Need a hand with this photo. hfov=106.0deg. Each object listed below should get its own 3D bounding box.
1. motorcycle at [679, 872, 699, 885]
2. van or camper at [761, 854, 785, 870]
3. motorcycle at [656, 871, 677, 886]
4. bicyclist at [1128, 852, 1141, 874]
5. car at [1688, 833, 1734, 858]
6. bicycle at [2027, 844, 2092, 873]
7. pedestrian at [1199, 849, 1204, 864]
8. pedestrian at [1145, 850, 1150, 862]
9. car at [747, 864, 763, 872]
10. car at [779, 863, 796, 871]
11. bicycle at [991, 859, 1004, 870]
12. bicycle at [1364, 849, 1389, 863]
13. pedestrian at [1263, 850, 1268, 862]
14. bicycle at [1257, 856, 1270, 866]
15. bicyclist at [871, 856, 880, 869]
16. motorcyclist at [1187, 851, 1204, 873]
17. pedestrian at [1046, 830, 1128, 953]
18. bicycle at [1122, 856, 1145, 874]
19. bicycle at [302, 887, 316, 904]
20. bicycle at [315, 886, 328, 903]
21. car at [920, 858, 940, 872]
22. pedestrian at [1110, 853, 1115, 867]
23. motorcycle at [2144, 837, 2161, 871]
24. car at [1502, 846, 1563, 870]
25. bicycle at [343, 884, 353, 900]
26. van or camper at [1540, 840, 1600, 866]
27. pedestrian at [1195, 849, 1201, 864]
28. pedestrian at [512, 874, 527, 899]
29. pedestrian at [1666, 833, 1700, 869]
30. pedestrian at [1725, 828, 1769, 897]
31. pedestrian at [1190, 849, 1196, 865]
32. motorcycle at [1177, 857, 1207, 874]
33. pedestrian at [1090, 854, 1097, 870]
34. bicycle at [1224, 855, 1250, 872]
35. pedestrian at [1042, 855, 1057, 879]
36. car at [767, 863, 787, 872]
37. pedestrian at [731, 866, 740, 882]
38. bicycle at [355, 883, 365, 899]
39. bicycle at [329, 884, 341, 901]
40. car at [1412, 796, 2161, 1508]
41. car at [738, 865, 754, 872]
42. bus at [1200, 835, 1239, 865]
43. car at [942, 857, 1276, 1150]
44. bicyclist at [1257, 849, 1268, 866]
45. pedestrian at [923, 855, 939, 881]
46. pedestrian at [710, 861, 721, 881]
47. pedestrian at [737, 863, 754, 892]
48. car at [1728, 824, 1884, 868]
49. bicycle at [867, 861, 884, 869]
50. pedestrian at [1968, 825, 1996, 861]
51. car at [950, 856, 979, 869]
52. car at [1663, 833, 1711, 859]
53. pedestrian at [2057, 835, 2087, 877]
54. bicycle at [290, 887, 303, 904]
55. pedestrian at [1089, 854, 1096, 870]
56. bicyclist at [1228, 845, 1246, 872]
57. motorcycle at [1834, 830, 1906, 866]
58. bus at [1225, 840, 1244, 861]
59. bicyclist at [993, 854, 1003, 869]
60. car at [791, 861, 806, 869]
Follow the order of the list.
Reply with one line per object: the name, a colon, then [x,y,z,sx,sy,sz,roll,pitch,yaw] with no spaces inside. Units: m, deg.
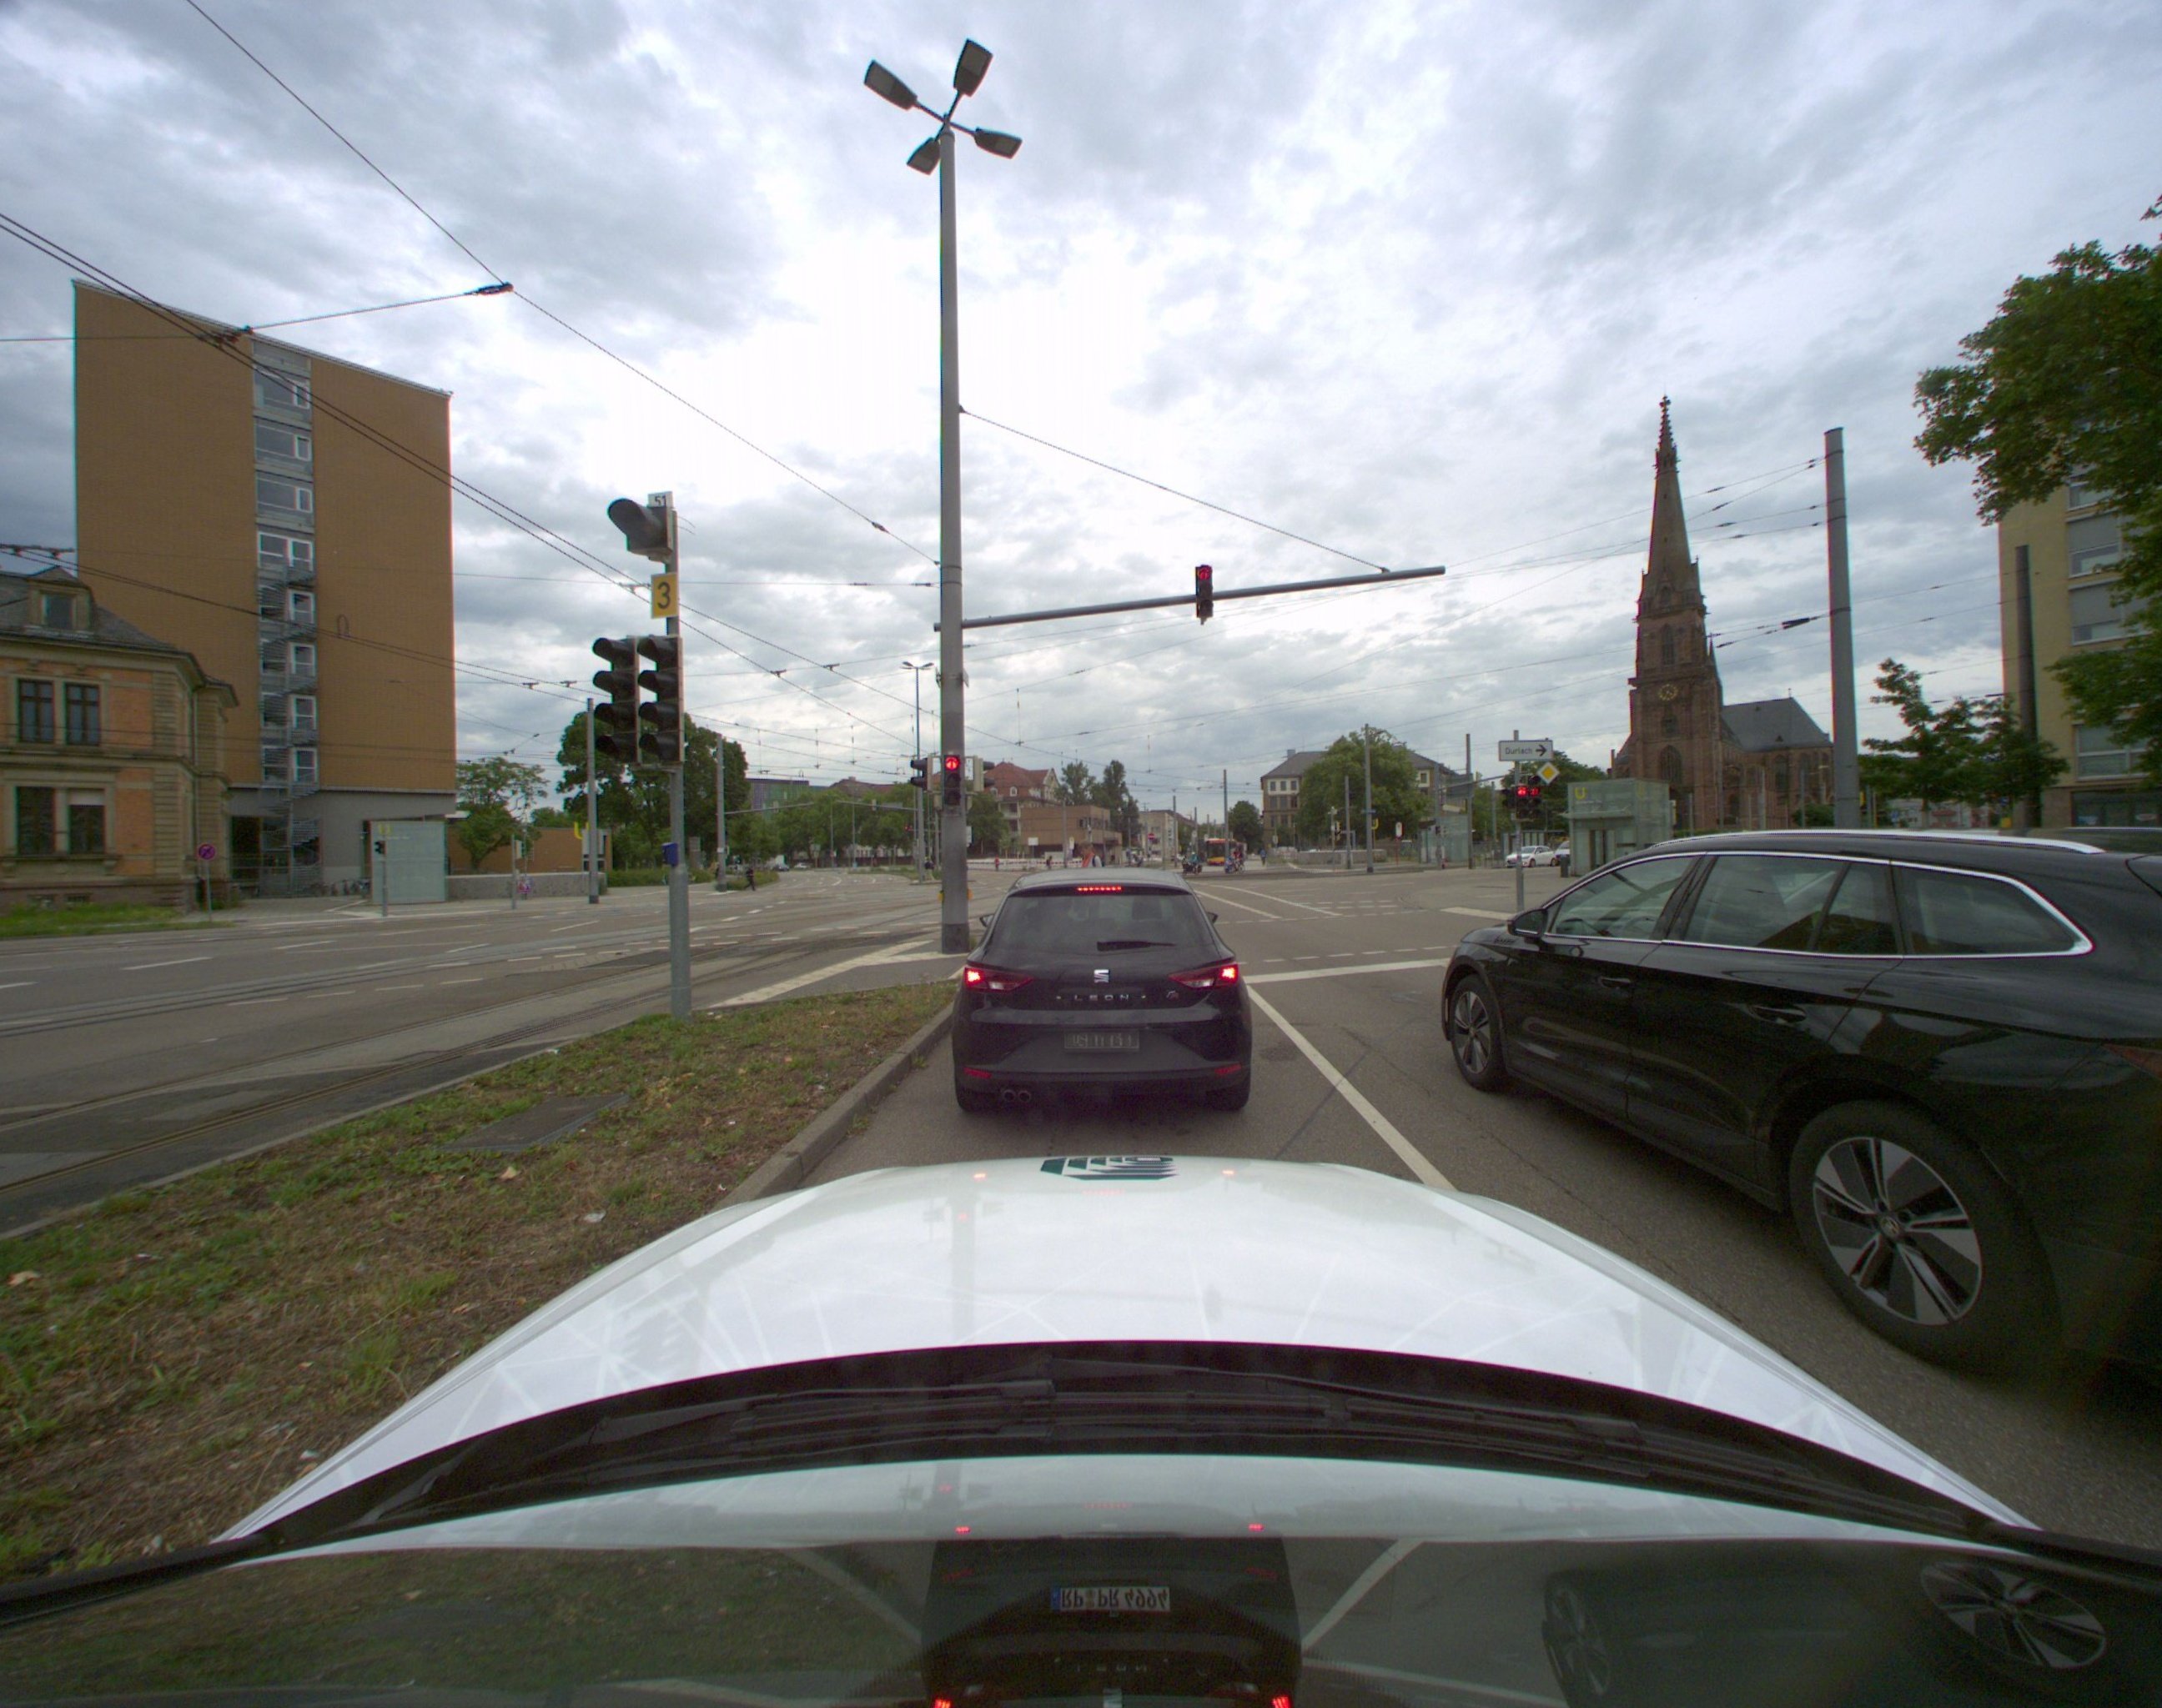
motorcycle: [-34.421,2.168,71.505,0.506,1.111,1.751,-2,0,15]
van or camper: [-62.830,1.735,165.992,5.434,3.124,2.410,-2,0,43]
motorcycle: [-35.448,2.084,69.600,1.481,1.268,0.505,-1,0,-44]
bicyclist: [4.154,0.699,63.789,0.854,1.673,0.652,-1,0,-10]
car: [53.567,-0.727,69.192,4.017,2.013,1.978,-1,0,-36]
bicycle: [31.505,0.139,26.232,0.596,0.917,1.253,-1,0,-28]
pedestrian: [15.462,0.342,104.344,0.617,1.918,0.701,-2,0,11]
pedestrian: [11.502,0.349,140.208,0.615,1.918,0.715,-3,-2,27]
car: [-68.758,2.945,171.591,1.792,1.464,3.951,-1,0,-44]
car: [-61.702,2.709,170.956,3.950,1.464,1.792,-1,0,44]
bicycle: [-9.246,1.147,90.506,0.895,1.178,2.287,-1,0,-20]
bicycle: [29.655,0.183,81.727,2.248,1.331,0.709,-2,-2,9]
pedestrian: [31.694,0.340,140.049,0.659,2.013,0.692,-2,0,2]
bicycle: [20.082,0.789,89.659,0.863,1.104,2.299,-1,0,-3]
bicyclist: [-32.976,1.351,130.743,0.928,2.013,0.984,-2,0,30]
motorcyclist: [8.522,0.588,60.458,0.984,1.649,0.742,-1,-1,-31]
pedestrian: [0.108,0.585,13.264,1.110,1.907,0.727,0,-1,-41]
bicycle: [4.111,0.865,63.780,1.730,1.321,0.643,-1,0,-10]
bicycle: [-52.090,2.774,54.956,0.575,1.106,1.411,-1,0,-41]
bicycle: [-51.643,2.776,55.361,0.575,1.106,1.411,-1,0,-41]
car: [-19.572,1.382,105.422,2.000,1.684,3.973,-1,-1,-20]
pedestrian: [4.336,0.822,112.071,0.618,1.918,0.711,-2,0,5]
motorcycle: [31.961,-0.011,23.848,1.021,0.997,0.863,-1,0,-44]
car: [30.410,0.268,54.831,4.011,1.464,1.758,-1,-2,-30]
bicycle: [-50.655,2.627,56.282,0.512,1.049,1.411,-1,0,-41]
van or camper: [35.271,-0.089,58.680,4.321,1.742,1.979,-1,-2,-34]
pedestrian: [15.151,0.374,105.380,0.618,1.918,0.711,-2,0,5]
pedestrian: [-30.755,1.784,44.624,0.492,1.336,0.577,-2,-1,41]
pedestrian: [31.136,-0.145,42.099,0.950,1.797,1.076,-1,-2,-32]
pedestrian: [19.200,0.228,23.479,0.878,1.930,1.023,-1,0,43]
pedestrian: [14.278,0.376,103.913,0.617,1.918,0.701,-2,0,11]
motorcycle: [8.205,0.855,60.247,2.149,1.139,0.737,-1,0,-31]
pedestrian: [1.503,0.953,97.522,0.704,1.918,0.625,-2,0,9]
bicycle: [11.252,0.670,58.592,2.044,1.184,0.768,-1,0,-44]
pedestrian: [-2.591,1.064,66.896,0.692,1.934,1.037,-2,0,40]
car: [-54.053,2.407,144.741,1.792,1.464,3.950,-1,0,-45]
pedestrian: [-44.547,2.564,105.033,0.880,1.981,0.791,-1,-2,-17]
bicycle: [-50.242,2.596,56.721,0.484,1.049,1.411,-1,0,-41]
bicycle: [-51.159,2.636,55.838,0.575,1.106,1.411,-1,0,-41]
car: [3.322,0.652,3.771,1.771,1.597,4.510,-1,0,1]
car: [-73.824,3.098,179.400,3.949,1.464,1.792,-1,0,43]
bus: [15.962,-0.430,93.274,2.938,3.123,11.589,-2,0,16]
car: [0.089,0.773,6.107,1.700,1.449,3.809,-1,0,-2]
bicyclist: [20.057,0.347,89.807,0.869,1.851,1.046,-1,0,-4]
pedestrian: [-11.343,1.070,61.672,1.032,1.934,0.695,-2,0,-24]
pedestrian: [-36.416,1.689,81.118,0.799,1.981,0.872,-1,-2,-33]
pedestrian: [-23.820,1.656,57.843,1.023,2.013,0.841,-1,0,-18]
car: [37.656,-0.394,42.518,5.672,2.014,2.038,-2,-2,19]
bicycle: [-32.977,1.791,130.741,0.930,1.179,2.747,-2,0,30]
pedestrian: [42.534,-0.517,38.436,0.640,1.638,0.778,-1,0,-35]
car: [-17.612,1.300,123.661,3.970,1.684,2.001,-2,-1,3]
car: [49.704,-0.634,66.755,4.017,2.013,1.978,-1,0,-36]
pedestrian: [39.385,0.087,32.370,0.875,1.638,0.631,-1,0,-32]
bicycle: [-52.540,2.788,54.551,0.575,1.106,1.411,-1,0,-41]
pedestrian: [1.346,0.940,96.729,0.704,1.918,0.625,-2,0,9]
bicyclist: [11.213,0.305,58.584,1.003,1.898,0.768,-1,-1,-44]
motorcycle: [26.949,-0.212,27.812,2.386,1.168,0.762,-1,0,-19]
bus: [25.728,-0.591,136.285,2.635,3.283,11.034,-2,0,13]
bicyclist: [-9.240,0.839,90.441,0.886,1.732,0.888,-1,0,-20]
car: [-56.557,2.160,162.859,1.790,1.464,3.956,-1,0,-36]
